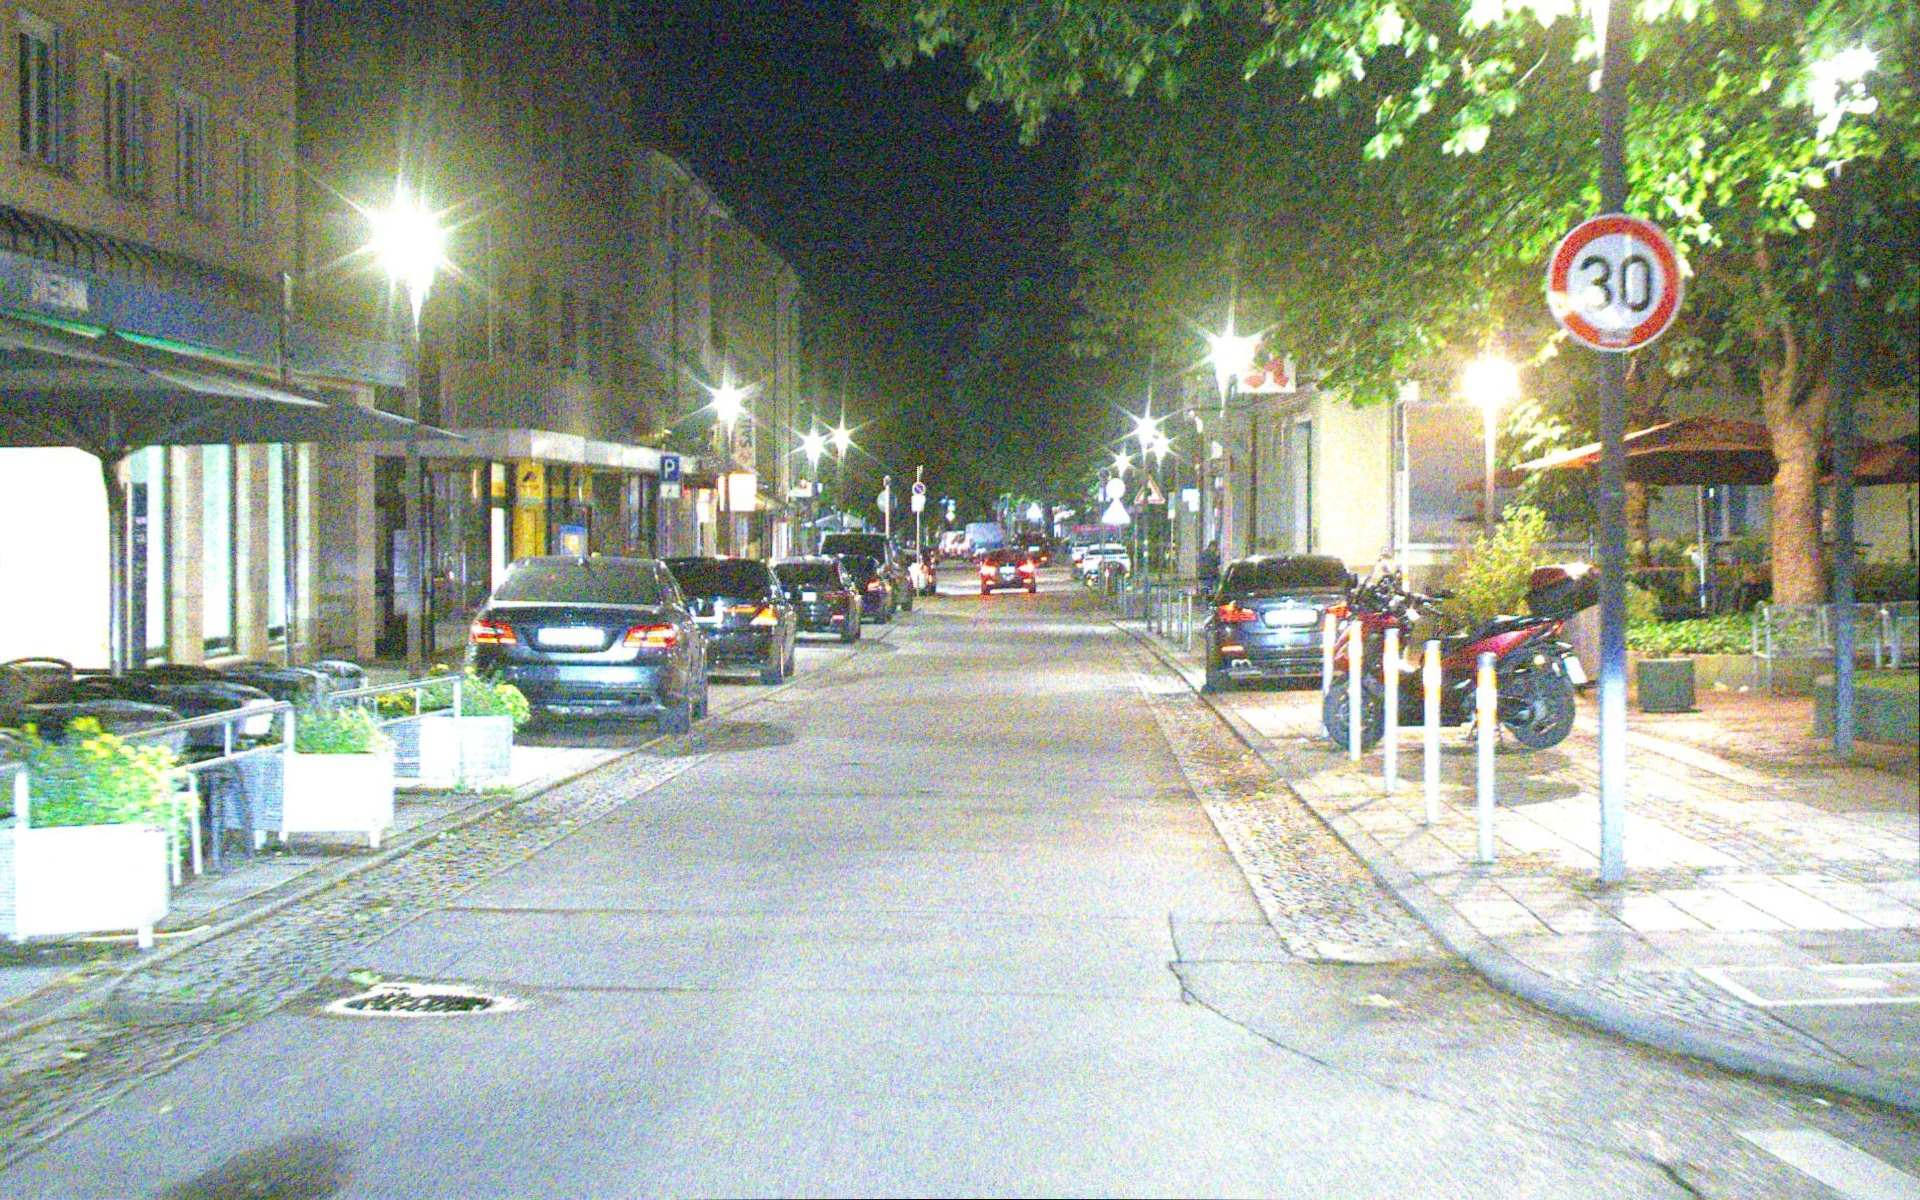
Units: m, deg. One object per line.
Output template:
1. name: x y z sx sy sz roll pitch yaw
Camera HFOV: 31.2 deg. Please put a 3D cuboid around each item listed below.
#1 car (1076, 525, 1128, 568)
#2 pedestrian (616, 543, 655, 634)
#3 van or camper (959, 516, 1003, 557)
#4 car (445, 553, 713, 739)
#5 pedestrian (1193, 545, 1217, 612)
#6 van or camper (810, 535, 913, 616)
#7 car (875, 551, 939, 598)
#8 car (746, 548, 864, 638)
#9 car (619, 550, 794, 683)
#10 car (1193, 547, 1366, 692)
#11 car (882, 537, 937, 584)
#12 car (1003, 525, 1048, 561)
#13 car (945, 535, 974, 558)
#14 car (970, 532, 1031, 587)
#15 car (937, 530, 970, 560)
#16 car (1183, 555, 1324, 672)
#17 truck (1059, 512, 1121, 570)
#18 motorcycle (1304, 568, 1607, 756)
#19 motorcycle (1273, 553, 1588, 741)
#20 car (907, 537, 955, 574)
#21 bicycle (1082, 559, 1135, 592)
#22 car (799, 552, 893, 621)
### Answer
1. car: 5.156 -1.962 125.105 1.789 1.486 4.059 -2 1 2
2. pedestrian: -6.277 -0.225 66.556 0.621 1.739 1.023 0 1 1
3. van or camper: 1.225 -3.735 202.437 2.108 2.309 4.263 -2 1 -6
4. car: -3.176 0.341 29.484 1.899 1.465 4.525 0 1 -1
5. pedestrian: 5.721 -0.508 80.274 0.501 1.542 0.480 1 0 7
6. van or camper: -2.432 -0.635 85.895 1.846 1.935 5.152 1 1 6
7. car: -1.795 -0.893 117.760 2.019 1.483 5.008 3 1 0
8. car: -2.634 -0.135 59.284 1.797 1.473 4.321 1 0 0
9. car: -2.974 0.160 41.145 1.845 1.459 4.623 1 1 -2
10. car: 3.508 0.179 38.209 1.753 1.459 4.466 -2 0 4
11. car: -1.623 -1.302 112.239 1.728 1.472 3.847 1 1 0
12. car: 3.354 -2.913 176.513 1.814 1.822 4.348 -1 1 -5
13. car: -0.044 -3.332 215.240 1.531 1.413 3.846 0 1 -4
14. car: 1.344 -1.374 115.673 1.993 1.817 4.000 0 1 0
15. car: -0.402 -3.540 221.574 1.839 1.894 3.846 0 1 -4
16. car: 3.730 0.148 43.969 1.661 1.373 4.103 -2 0 4
17. truck: 5.308 -2.433 141.066 2.336 2.304 5.781 -1 1 0
18. motorcycle: 3.522 0.435 24.576 2.168 1.293 0.514 -1 0 39
19. motorcycle: 3.575 0.355 26.176 2.267 1.386 0.660 -1 0 26
20. car: -1.241 -1.909 145.832 1.673 1.538 4.231 1 1 -5
21. bicycle: 4.926 -0.820 114.018 1.754 1.058 0.346 -1 1 -1
22. car: -2.423 -0.316 73.709 1.717 1.408 4.385 1 1 2
